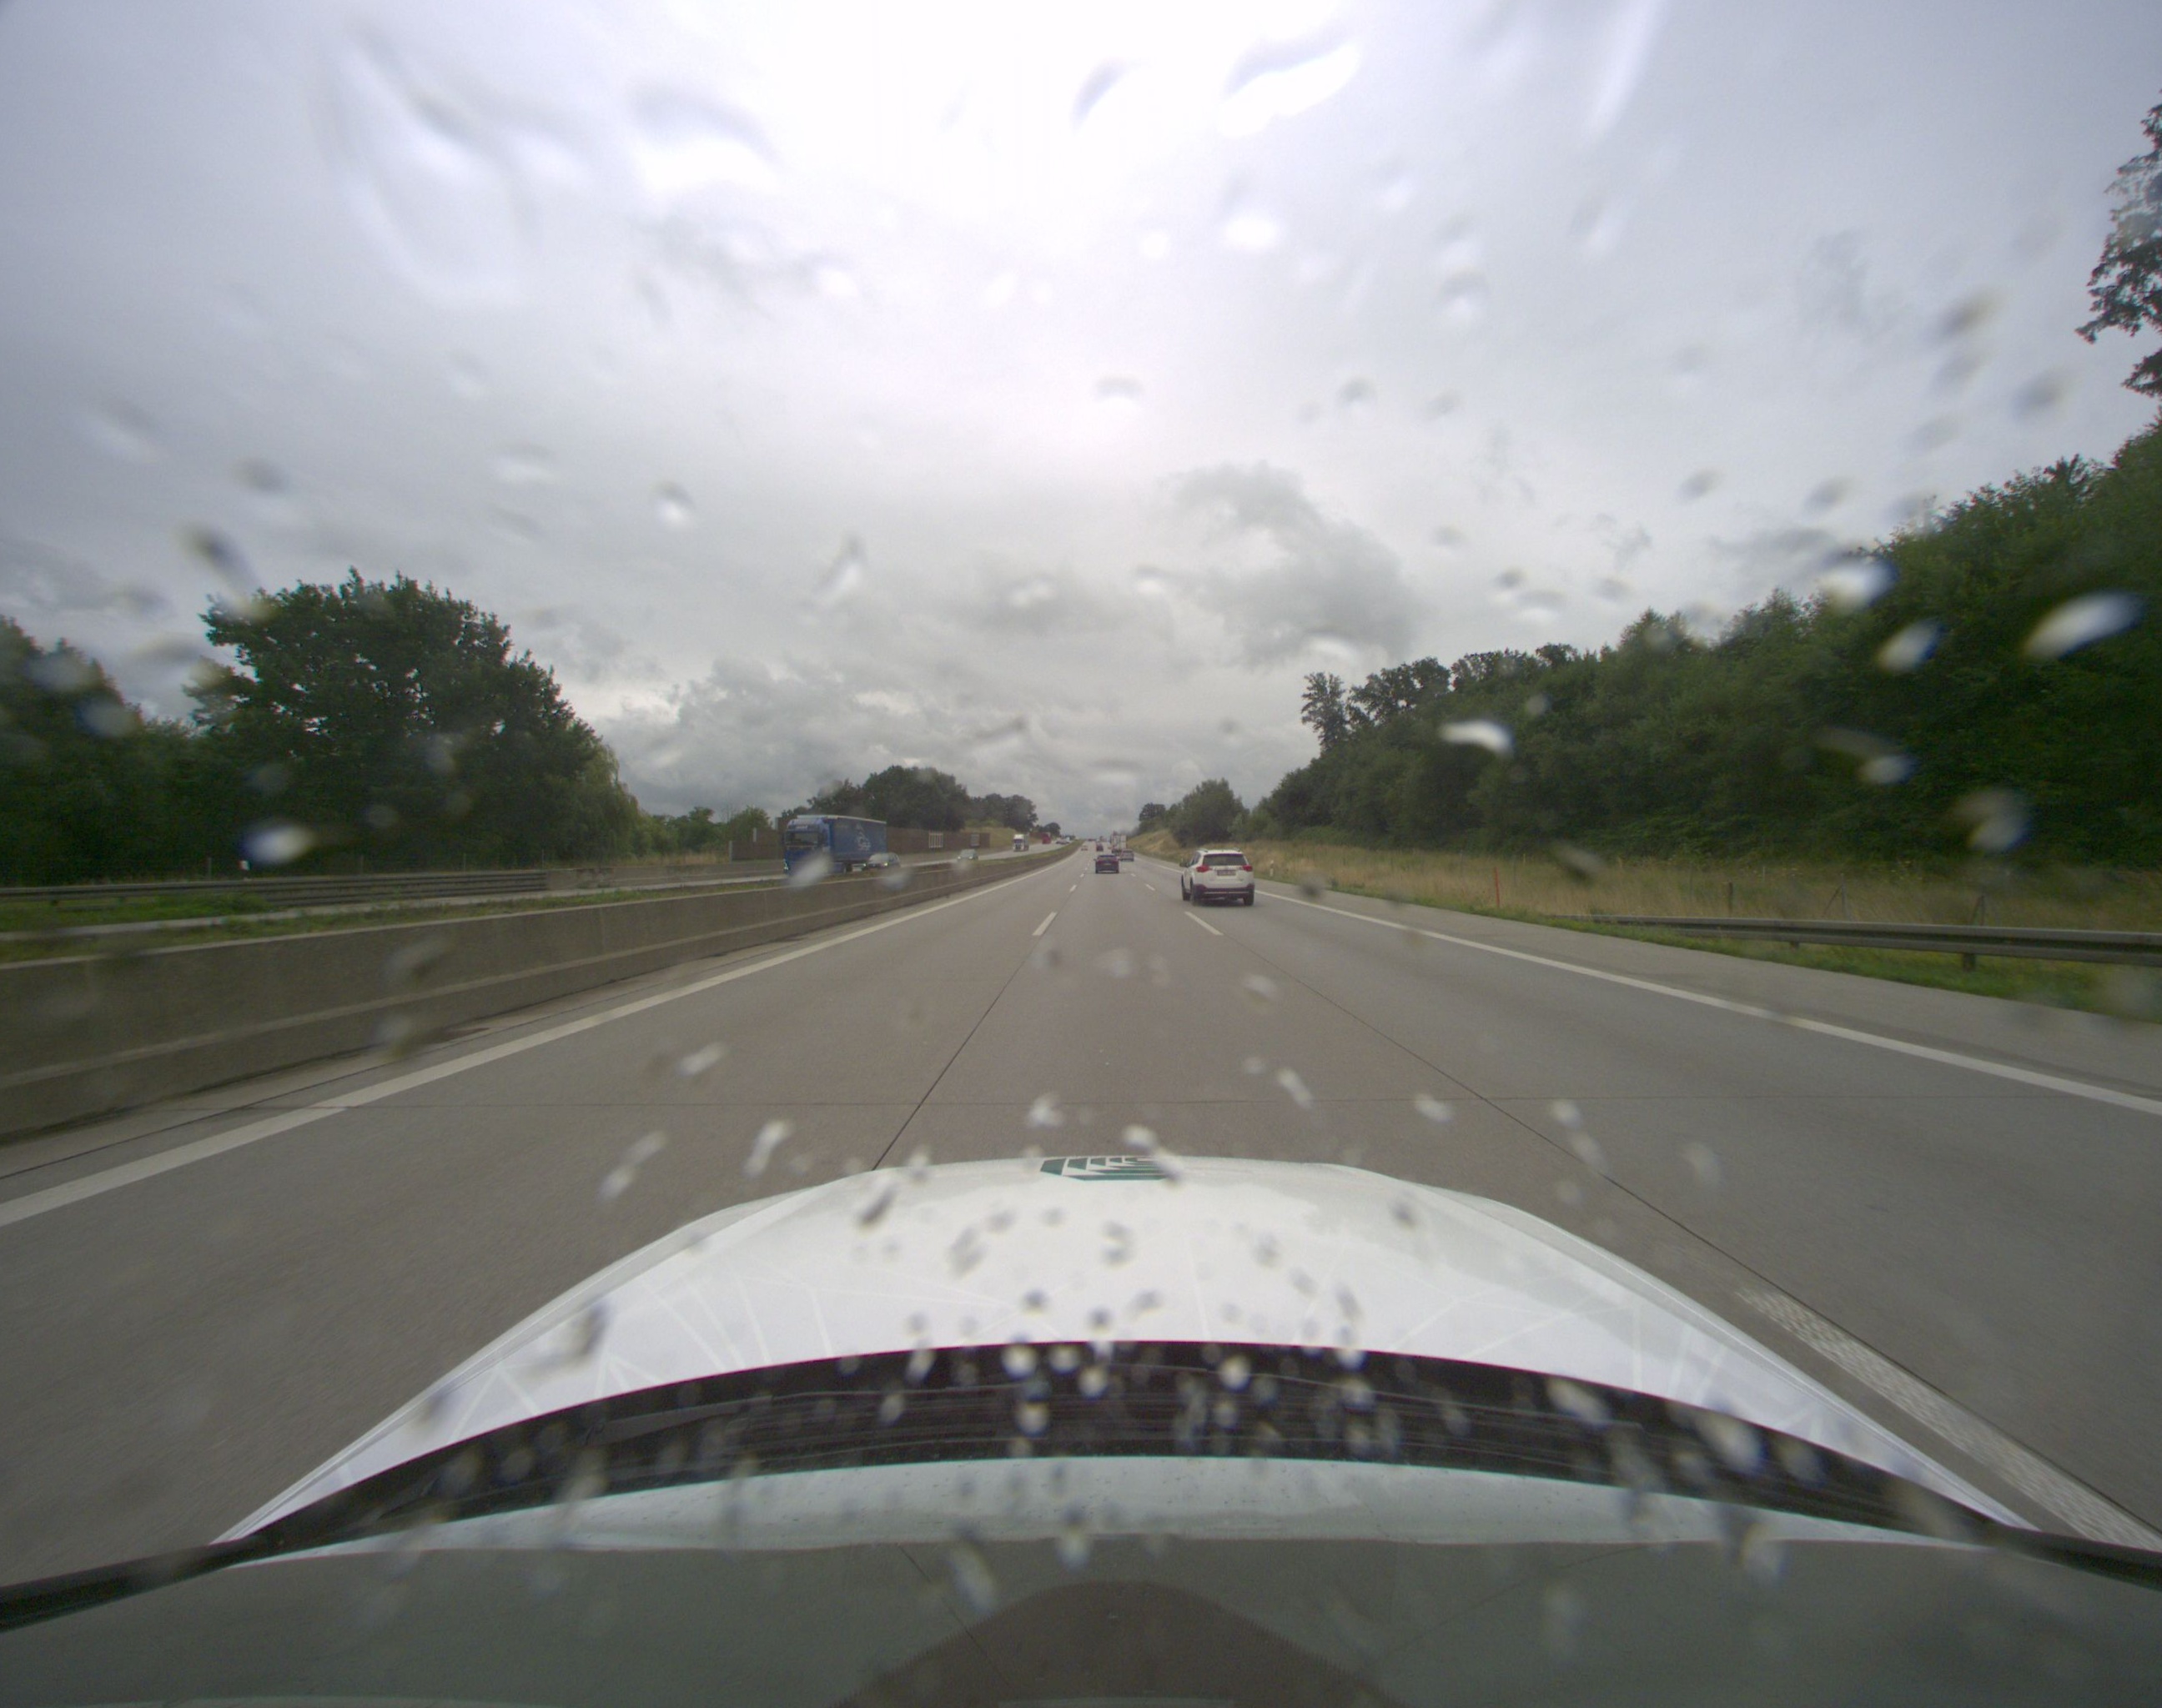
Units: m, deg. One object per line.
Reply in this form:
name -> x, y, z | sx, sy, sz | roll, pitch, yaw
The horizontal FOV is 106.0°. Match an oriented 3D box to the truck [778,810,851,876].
truck -> -17.799, -0.709, 54.742 | 2.681, 4.188, 6.213 | 0, 0, 2

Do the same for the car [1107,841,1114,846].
car -> 9.021, -3.111, 245.837 | 1.985, 1.640, 4.004 | 0, 0, 3

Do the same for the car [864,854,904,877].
car -> -13.453, 0.762, 55.877 | 1.631, 1.500, 4.518 | 0, 0, 0

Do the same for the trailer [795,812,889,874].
trailer -> -17.664, -0.734, 61.510 | 2.700, 4.208, 13.796 | 0, 0, 1

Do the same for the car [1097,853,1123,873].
car -> 2.122, 0.638, 60.657 | 1.747, 1.398, 4.483 | 0, 0, 0

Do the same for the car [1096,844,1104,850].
car -> 4.867, -1.811, 208.822 | 1.927, 1.375, 4.597 | 0, -1, 2

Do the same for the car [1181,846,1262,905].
car -> 4.200, 0.604, 24.990 | 1.820, 1.655, 3.985 | 0, 0, 0

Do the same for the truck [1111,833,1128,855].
truck -> 7.454, -1.882, 157.395 | 3.007, 4.180, 8.356 | 0, 0, 1

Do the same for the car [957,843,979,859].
car -> -12.798, -0.284, 92.145 | 1.810, 1.767, 4.732 | 0, 0, 0

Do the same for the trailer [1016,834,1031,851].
trailer -> -14.374, -2.915, 205.347 | 2.687, 4.095, 14.007 | 0, 0, 1

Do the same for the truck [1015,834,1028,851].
truck -> -14.450, -2.871, 198.812 | 2.673, 4.083, 6.218 | 0, 0, 1

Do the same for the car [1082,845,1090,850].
car -> 1.326, -1.700, 226.276 | 1.940, 1.356, 4.262 | 0, 1, 2

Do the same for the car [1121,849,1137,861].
car -> 6.503, 0.108, 110.251 | 1.986, 1.530, 4.002 | 0, 0, 2
